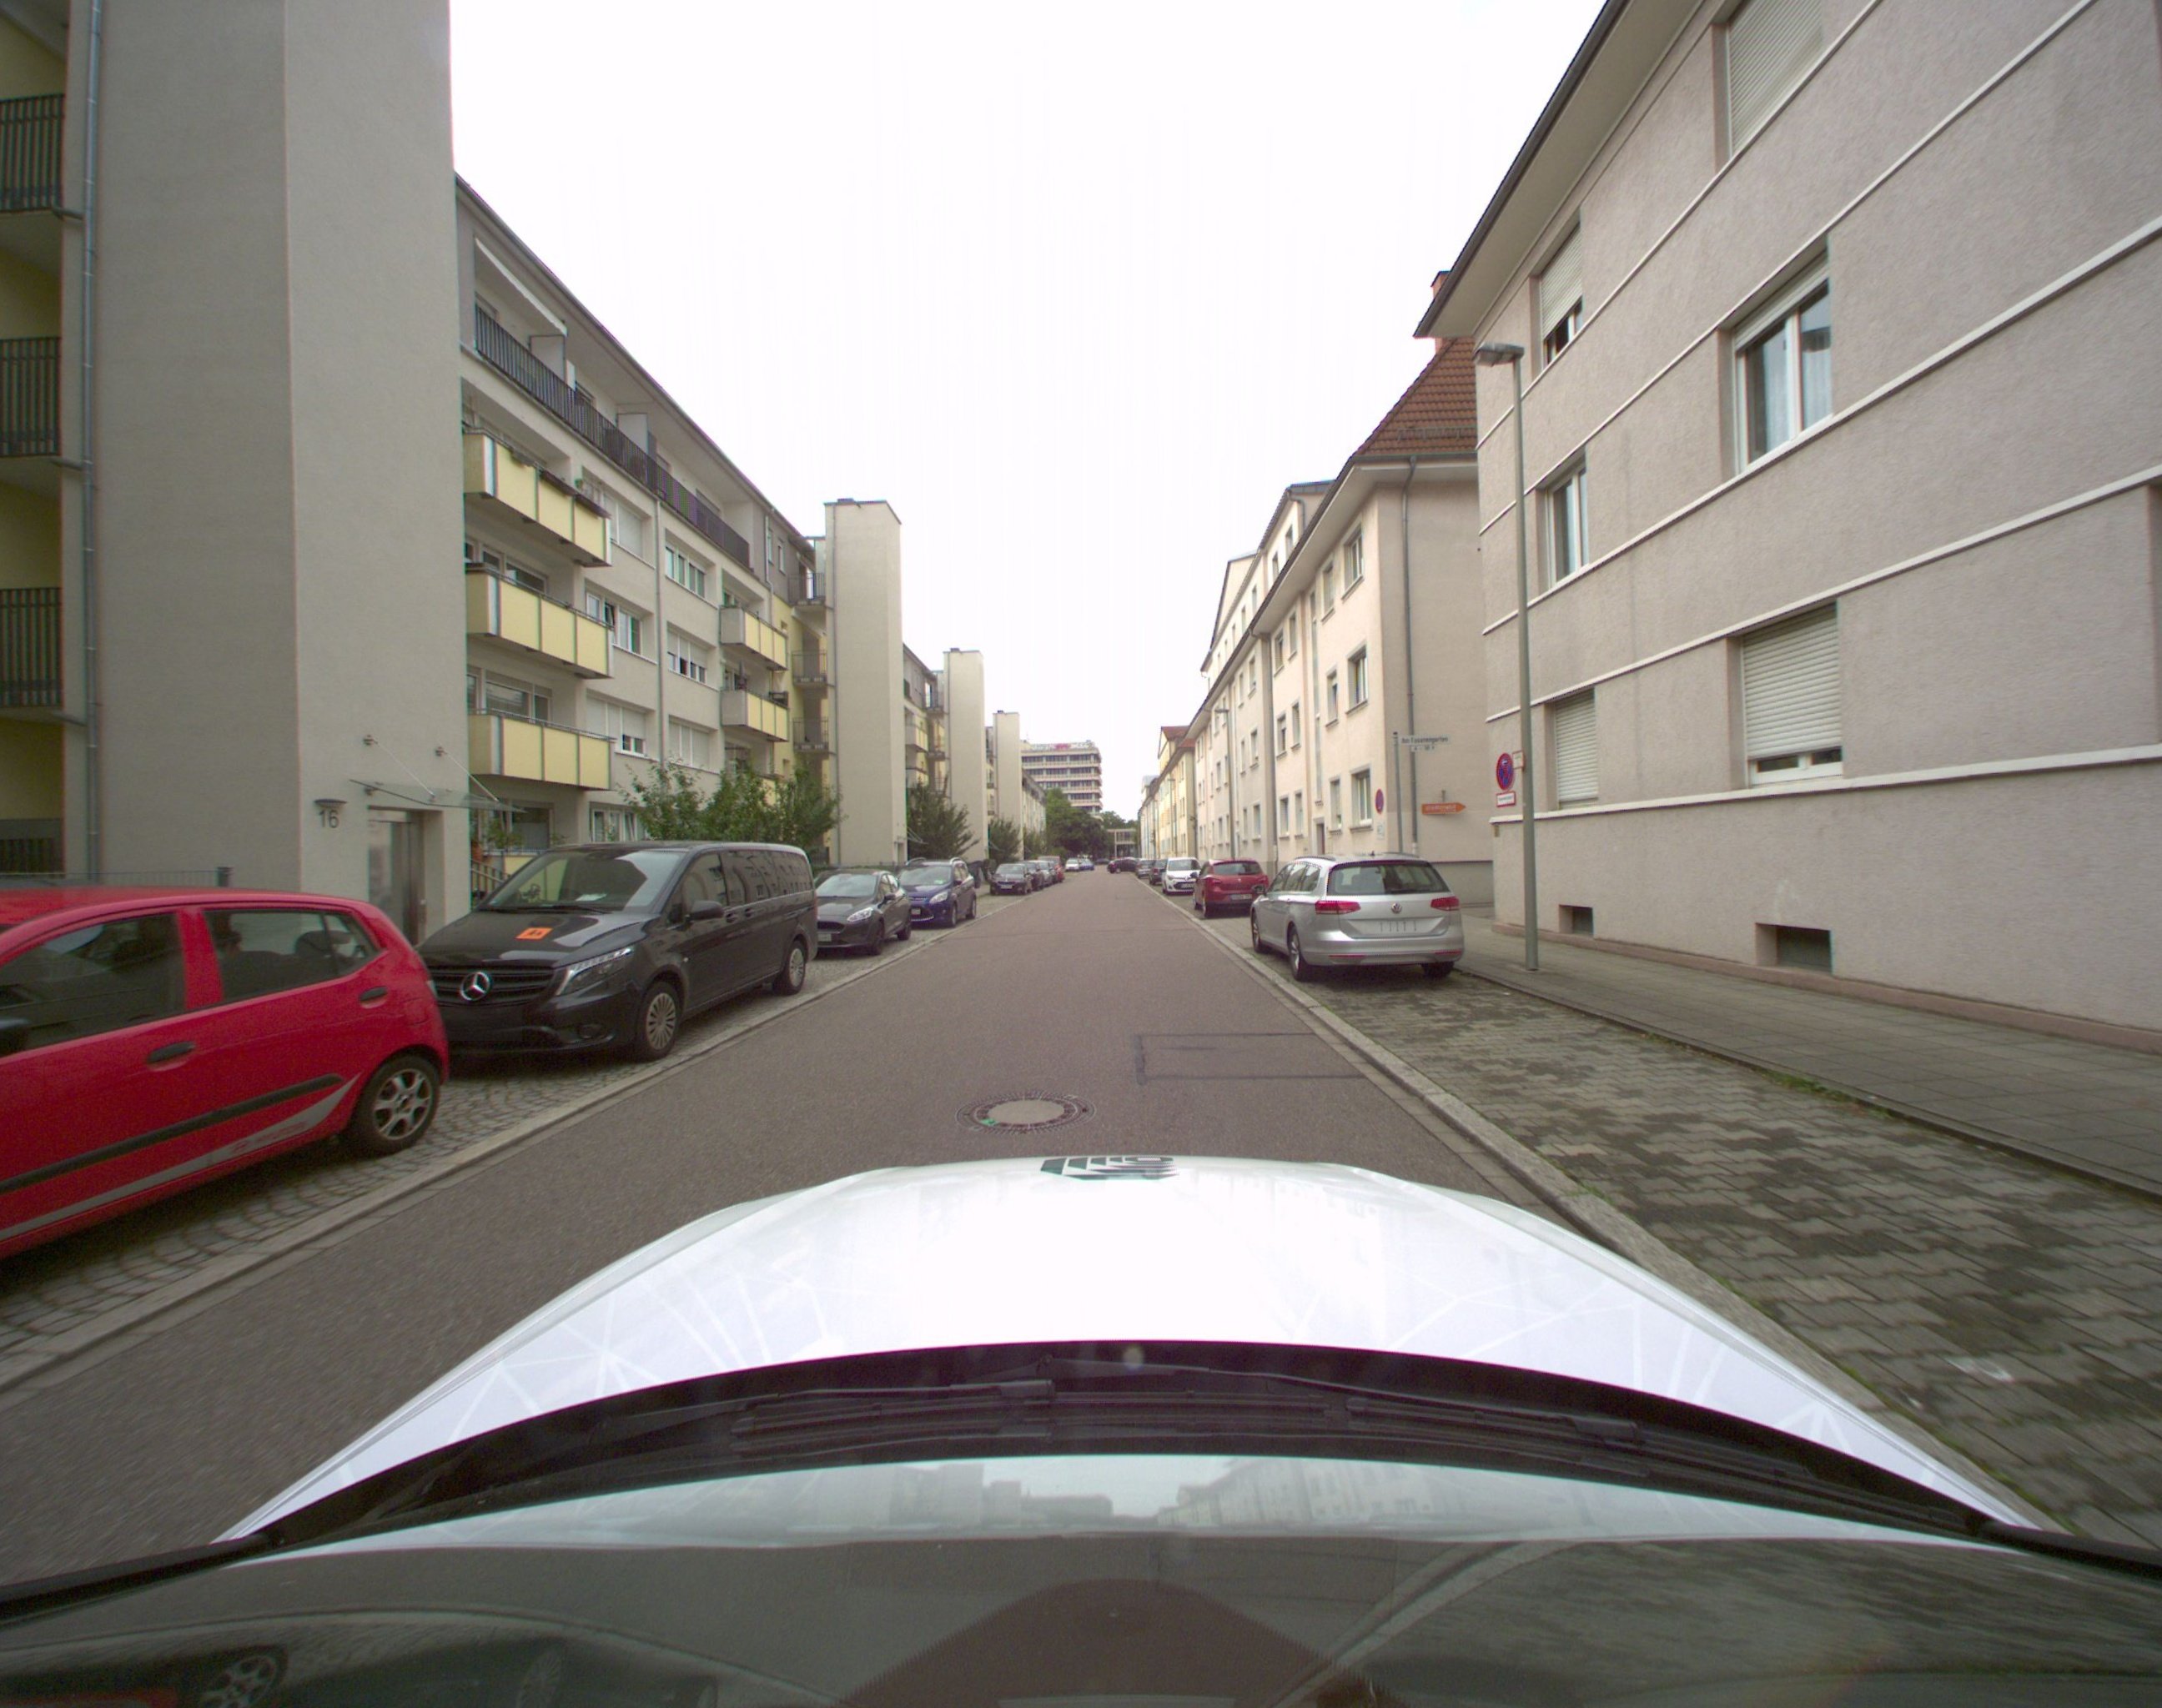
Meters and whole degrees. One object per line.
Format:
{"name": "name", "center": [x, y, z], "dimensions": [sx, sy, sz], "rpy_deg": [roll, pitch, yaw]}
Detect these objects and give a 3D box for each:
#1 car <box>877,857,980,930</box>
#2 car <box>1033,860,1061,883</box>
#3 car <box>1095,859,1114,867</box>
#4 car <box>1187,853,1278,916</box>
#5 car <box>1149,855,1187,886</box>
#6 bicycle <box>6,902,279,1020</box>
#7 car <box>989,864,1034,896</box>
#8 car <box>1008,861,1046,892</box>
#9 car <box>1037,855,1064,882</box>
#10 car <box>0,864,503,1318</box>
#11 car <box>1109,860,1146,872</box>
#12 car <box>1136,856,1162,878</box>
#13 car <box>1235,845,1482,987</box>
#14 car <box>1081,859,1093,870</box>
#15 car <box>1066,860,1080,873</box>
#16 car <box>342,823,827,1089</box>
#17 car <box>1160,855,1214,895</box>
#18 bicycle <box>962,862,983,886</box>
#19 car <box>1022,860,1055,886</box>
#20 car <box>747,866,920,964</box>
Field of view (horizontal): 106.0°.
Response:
{"name": "car", "center": [-3.781, 0.919, 20.884], "dimensions": [1.763, 1.643, 4.355], "rpy_deg": [-1, 0, 0]}
{"name": "car", "center": [-2.297, 1.164, 55.907], "dimensions": [1.665, 1.487, 3.743], "rpy_deg": [-1, 0, 2]}
{"name": "car", "center": [4.994, 1.919, 174.538], "dimensions": [3.971, 1.486, 2.001], "rpy_deg": [1, 0, 2]}
{"name": "car", "center": [3.861, 0.733, 21.390], "dimensions": [1.664, 1.420, 4.001], "rpy_deg": [-3, 0, 1]}
{"name": "car", "center": [4.770, 0.880, 45.083], "dimensions": [1.812, 1.577, 3.754], "rpy_deg": [-1, 0, 2]}
{"name": "bicycle", "center": [-9.773, 1.098, 8.518], "dimensions": [2.201, 1.126, 0.522], "rpy_deg": [-1, -1, -1]}
{"name": "car", "center": [-3.249, 1.189, 38.542], "dimensions": [1.665, 1.352, 3.818], "rpy_deg": [-1, 0, 2]}
{"name": "car", "center": [-2.932, 1.196, 44.570], "dimensions": [1.665, 1.564, 3.666], "rpy_deg": [-1, 0, 2]}
{"name": "car", "center": [-2.258, 1.029, 60.793], "dimensions": [1.665, 1.938, 3.743], "rpy_deg": [-1, 0, 2]}
{"name": "car", "center": [-4.630, 0.866, 3.523], "dimensions": [1.558, 1.569, 3.643], "rpy_deg": [1, 0, 1]}
{"name": "car", "center": [4.683, 1.194, 81.898], "dimensions": [3.714, 1.214, 1.545], "rpy_deg": [-1, 0, 3]}
{"name": "car", "center": [5.143, 0.935, 61.840], "dimensions": [1.812, 1.577, 3.886], "rpy_deg": [-1, 0, 2]}
{"name": "car", "center": [3.331, 0.647, 10.797], "dimensions": [1.749, 1.467, 4.601], "rpy_deg": [-1, 0, 1]}
{"name": "car", "center": [0.859, 1.385, 112.376], "dimensions": [1.534, 1.450, 3.740], "rpy_deg": [-1, 0, -1]}
{"name": "car", "center": [-1.001, 1.533, 101.667], "dimensions": [1.533, 1.450, 3.743], "rpy_deg": [-1, 0, 2]}
{"name": "car", "center": [-4.382, 0.739, 8.424], "dimensions": [1.873, 1.904, 5.030], "rpy_deg": [1, 0, 0]}
{"name": "car", "center": [4.223, 0.817, 32.981], "dimensions": [1.812, 1.504, 3.754], "rpy_deg": [-1, 0, 2]}
{"name": "bicycle", "center": [-5.918, 1.072, 44.477], "dimensions": [0.868, 1.288, 1.892], "rpy_deg": [-1, 0, 0]}
{"name": "car", "center": [-2.591, 1.145, 50.537], "dimensions": [1.665, 1.526, 4.255], "rpy_deg": [-1, 0, 2]}
{"name": "car", "center": [-4.321, 0.993, 14.974], "dimensions": [1.824, 1.459, 4.259], "rpy_deg": [-1, 0, 0]}
